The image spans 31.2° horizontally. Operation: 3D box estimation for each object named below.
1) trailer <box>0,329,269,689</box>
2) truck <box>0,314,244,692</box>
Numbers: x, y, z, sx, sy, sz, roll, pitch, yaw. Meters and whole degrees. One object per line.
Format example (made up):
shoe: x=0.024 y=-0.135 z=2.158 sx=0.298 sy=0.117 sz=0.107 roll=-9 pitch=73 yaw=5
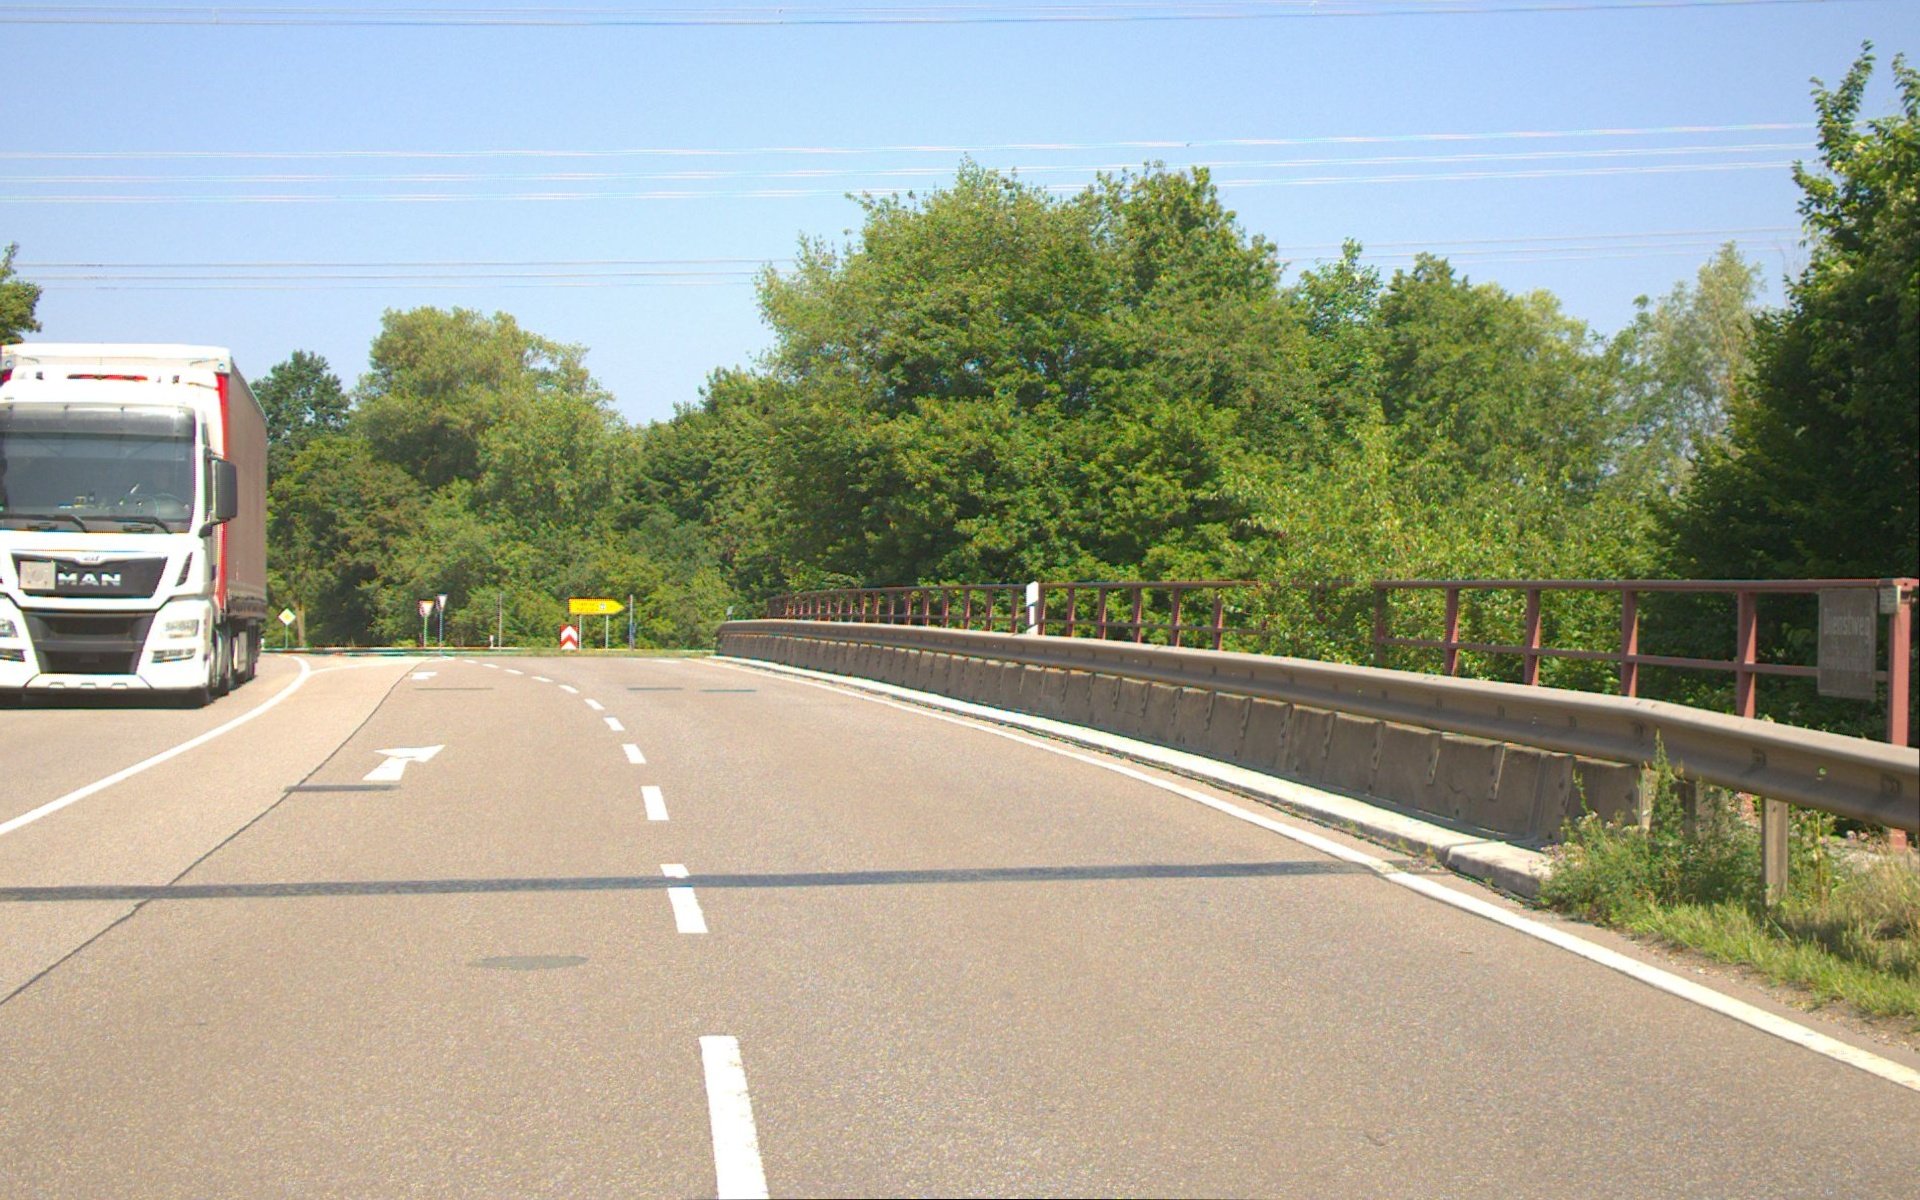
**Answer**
trailer: x=-10.845 y=-1.041 z=45.906 sx=2.767 sy=4.048 sz=14.203 roll=0 pitch=0 yaw=-10
truck: x=-9.789 y=-1.035 z=39.682 sx=2.768 sy=4.020 sz=5.857 roll=0 pitch=0 yaw=-10
